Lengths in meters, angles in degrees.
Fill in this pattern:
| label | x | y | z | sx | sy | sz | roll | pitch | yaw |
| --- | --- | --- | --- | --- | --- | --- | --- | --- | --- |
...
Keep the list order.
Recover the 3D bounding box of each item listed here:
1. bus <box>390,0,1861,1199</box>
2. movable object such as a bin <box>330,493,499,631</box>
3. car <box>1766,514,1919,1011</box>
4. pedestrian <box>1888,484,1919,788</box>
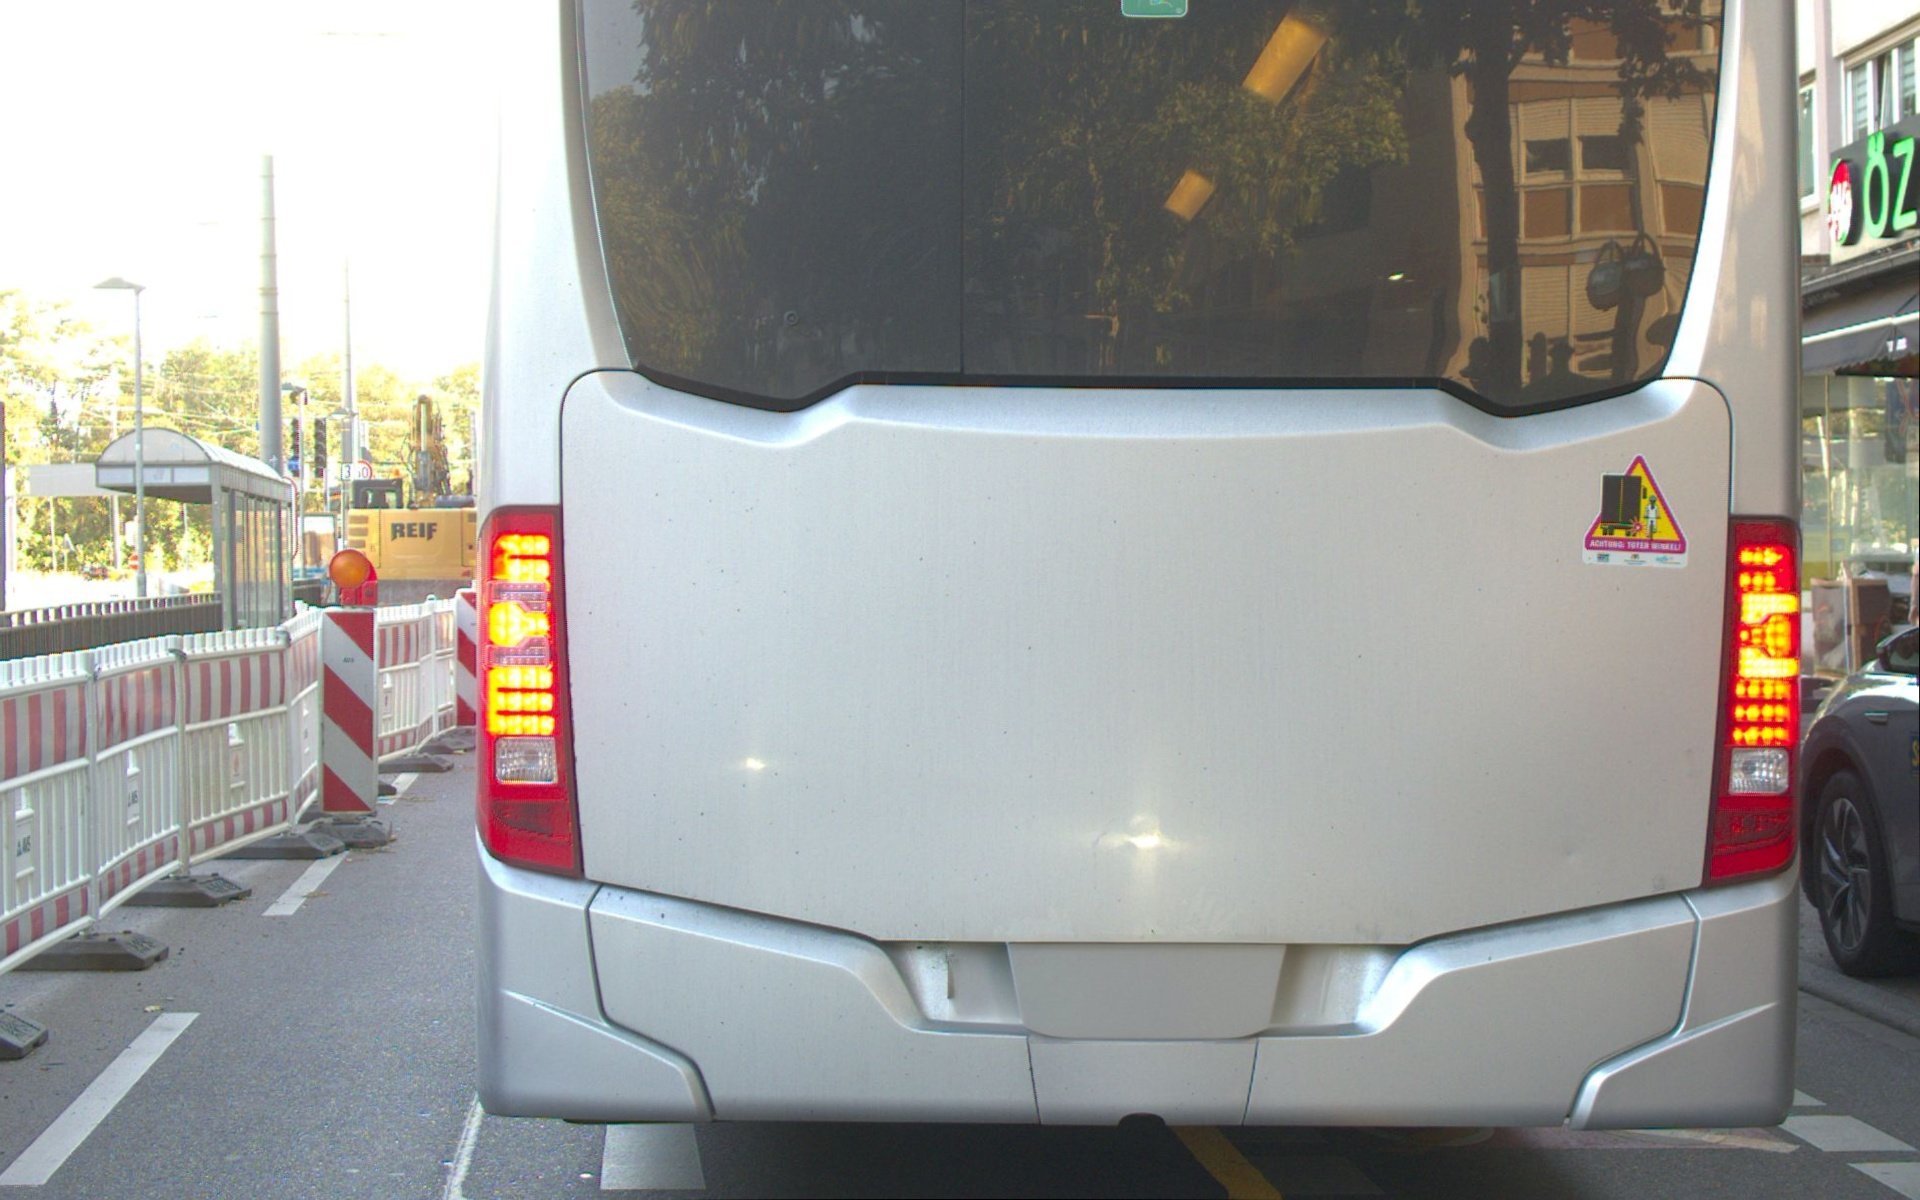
| label | x | y | z | sx | sy | sz | roll | pitch | yaw |
| --- | --- | --- | --- | --- | --- | --- | --- | --- | --- |
| bus | 0.268 | -0.284 | 11.249 | 2.608 | 3.159 | 10.292 | 0 | 1 | 0 |
| movable object such as a bin | -10.052 | -0.714 | 63.671 | 2.806 | 2.453 | 4.001 | -1 | 1 | -5 |
| car | 3.996 | 0.495 | 10.305 | 1.739 | 1.592 | 4.300 | -3 | 1 | -5 |
| pedestrian | 6.663 | 0.234 | 22.979 | 0.690 | 2.007 | 0.696 | -1 | 0 | -2 |
